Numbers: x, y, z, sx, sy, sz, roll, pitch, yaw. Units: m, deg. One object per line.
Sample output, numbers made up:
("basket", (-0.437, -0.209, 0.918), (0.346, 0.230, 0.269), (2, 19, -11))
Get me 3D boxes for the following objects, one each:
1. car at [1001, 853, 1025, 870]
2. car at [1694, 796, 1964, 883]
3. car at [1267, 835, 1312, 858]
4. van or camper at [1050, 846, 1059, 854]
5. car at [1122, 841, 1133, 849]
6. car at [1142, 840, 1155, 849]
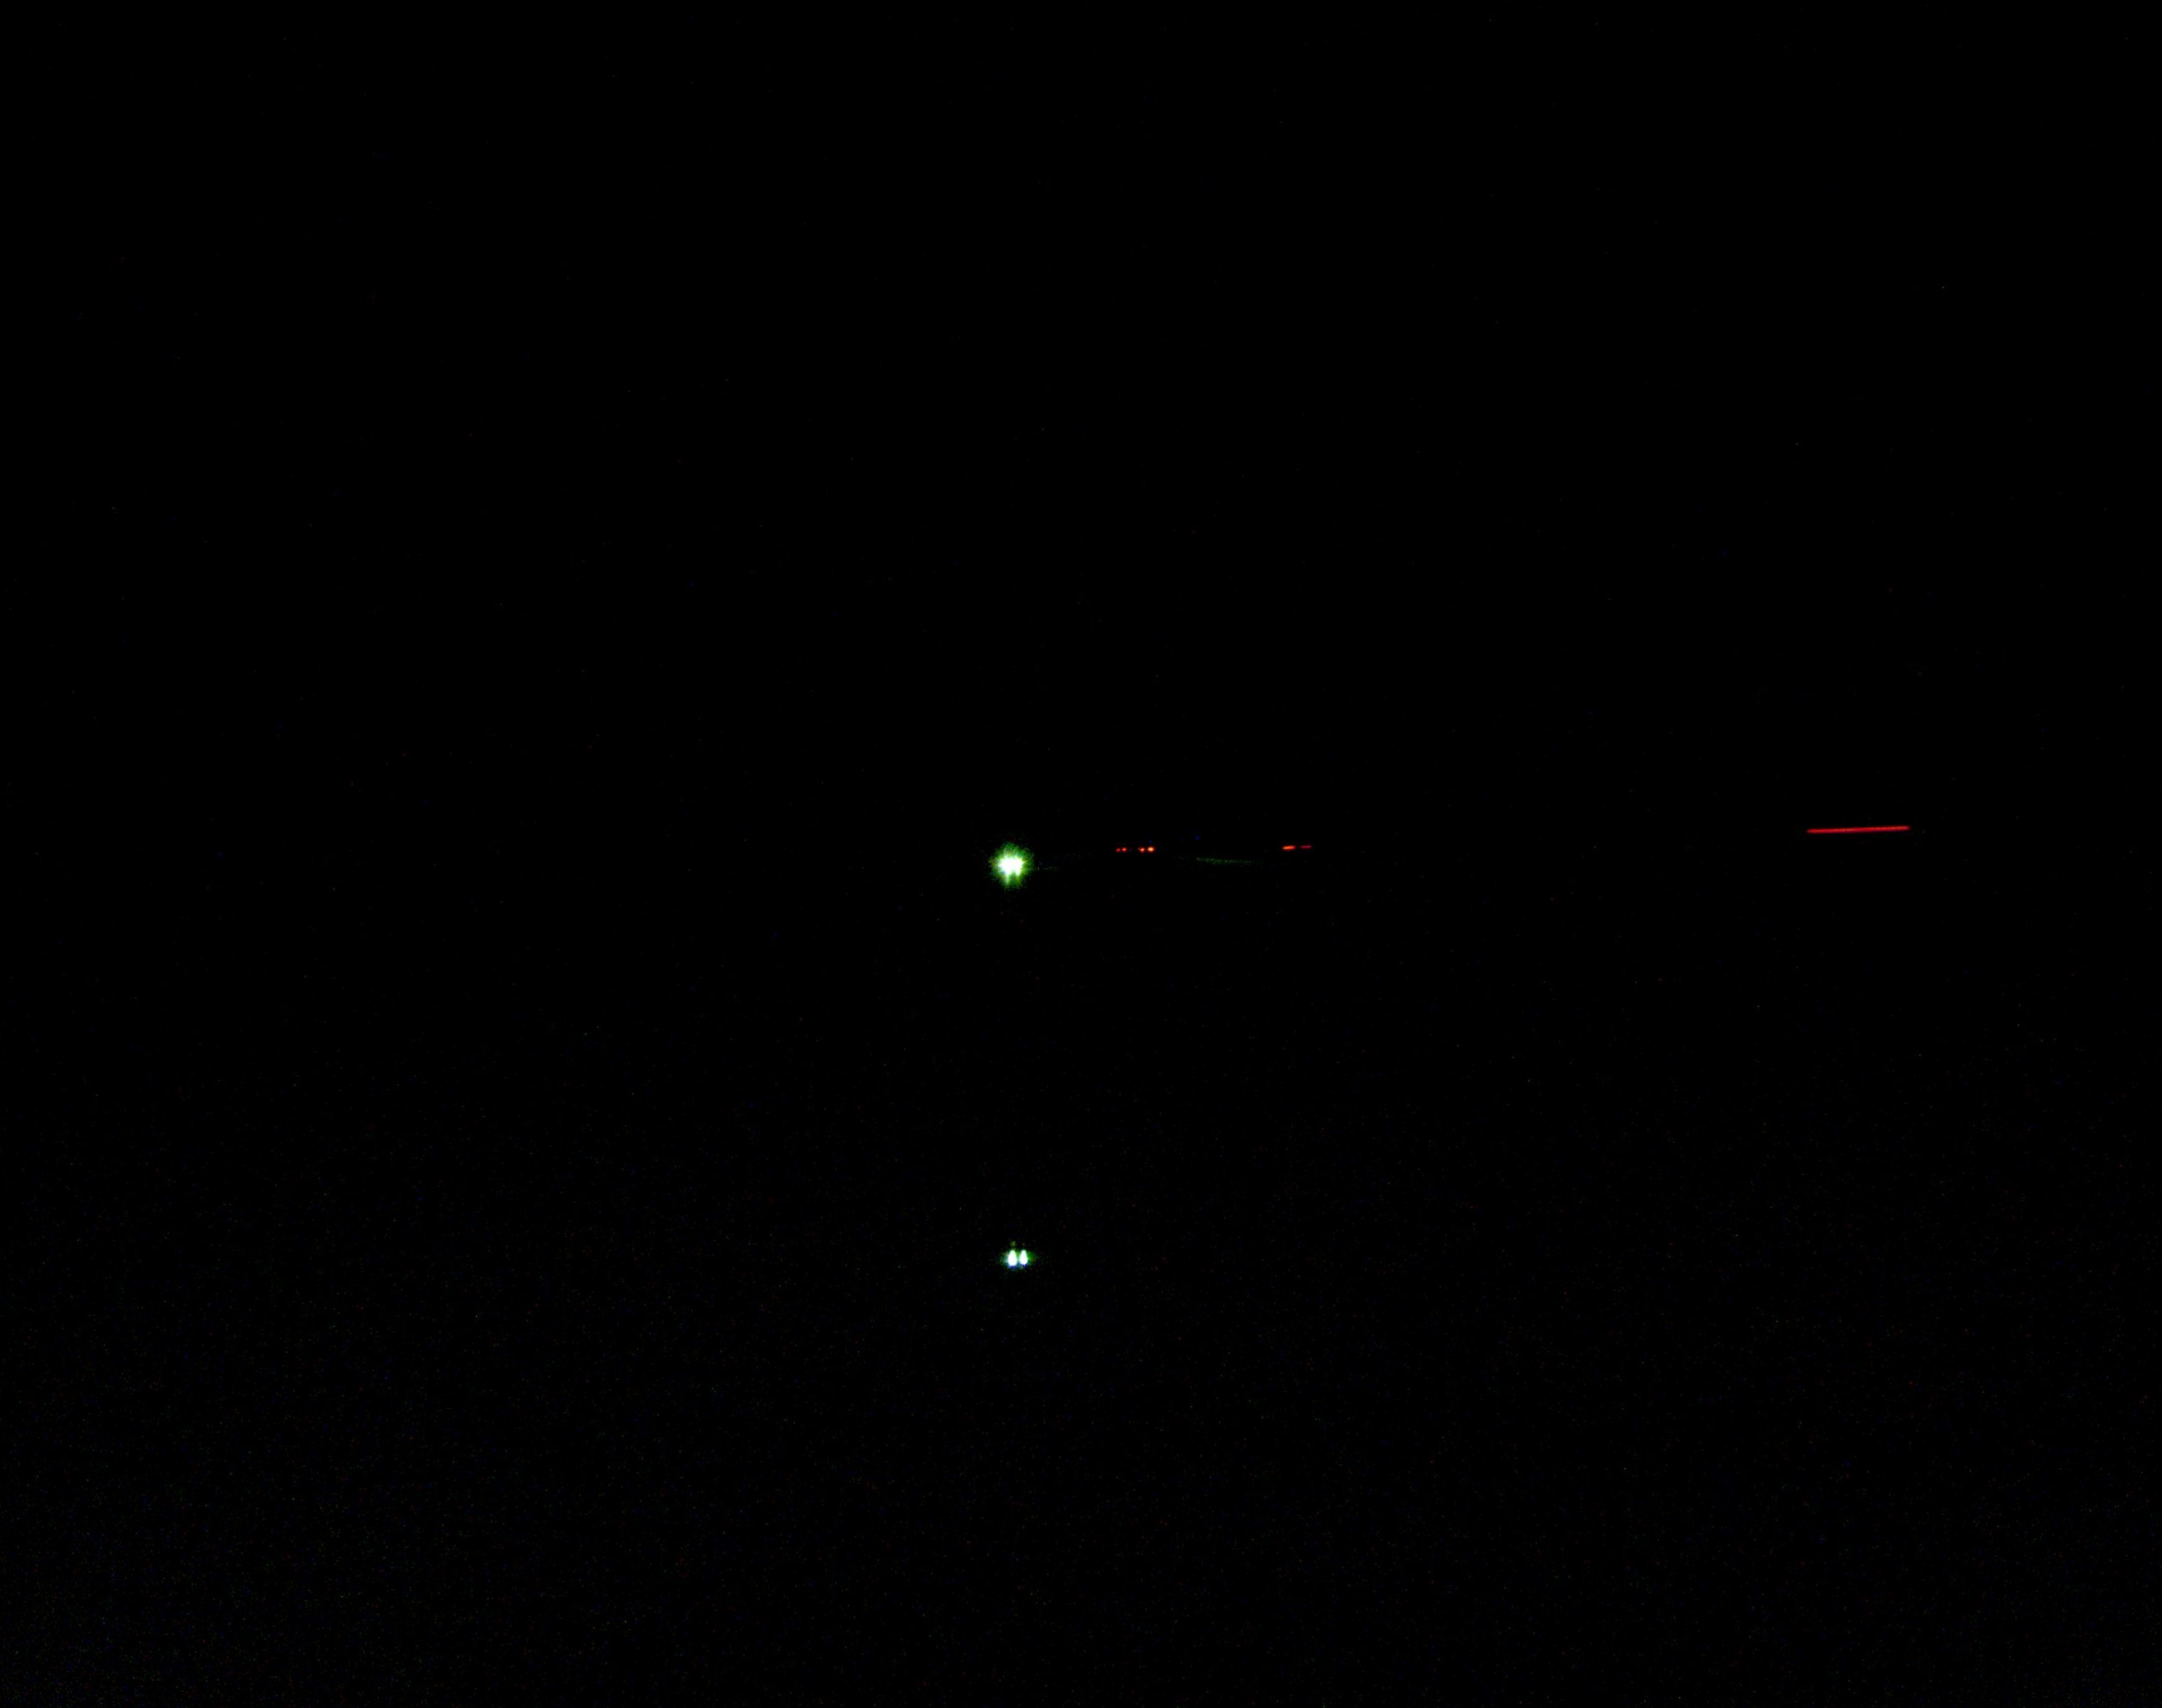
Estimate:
("car", (-8.627, 0.970, 96.399), (2.001, 1.843, 3.994), (-6, 1, -19))
("car", (16.111, -0.306, 16.716), (1.866, 1.506, 3.999), (-6, 1, -1))
("car", (14.788, -0.526, 54.090), (1.963, 1.448, 4.336), (-3, 0, 0))
("van or camper", (-9.070, -1.343, 261.405), (2.301, 2.602, 7.661), (-4, 0, -6))
("car", (9.960, -1.909, 162.447), (1.963, 1.723, 5.078), (-3, 0, 0))
("car", (12.183, -1.656, 137.420), (1.963, 1.448, 4.336), (-3, 0, 0))
